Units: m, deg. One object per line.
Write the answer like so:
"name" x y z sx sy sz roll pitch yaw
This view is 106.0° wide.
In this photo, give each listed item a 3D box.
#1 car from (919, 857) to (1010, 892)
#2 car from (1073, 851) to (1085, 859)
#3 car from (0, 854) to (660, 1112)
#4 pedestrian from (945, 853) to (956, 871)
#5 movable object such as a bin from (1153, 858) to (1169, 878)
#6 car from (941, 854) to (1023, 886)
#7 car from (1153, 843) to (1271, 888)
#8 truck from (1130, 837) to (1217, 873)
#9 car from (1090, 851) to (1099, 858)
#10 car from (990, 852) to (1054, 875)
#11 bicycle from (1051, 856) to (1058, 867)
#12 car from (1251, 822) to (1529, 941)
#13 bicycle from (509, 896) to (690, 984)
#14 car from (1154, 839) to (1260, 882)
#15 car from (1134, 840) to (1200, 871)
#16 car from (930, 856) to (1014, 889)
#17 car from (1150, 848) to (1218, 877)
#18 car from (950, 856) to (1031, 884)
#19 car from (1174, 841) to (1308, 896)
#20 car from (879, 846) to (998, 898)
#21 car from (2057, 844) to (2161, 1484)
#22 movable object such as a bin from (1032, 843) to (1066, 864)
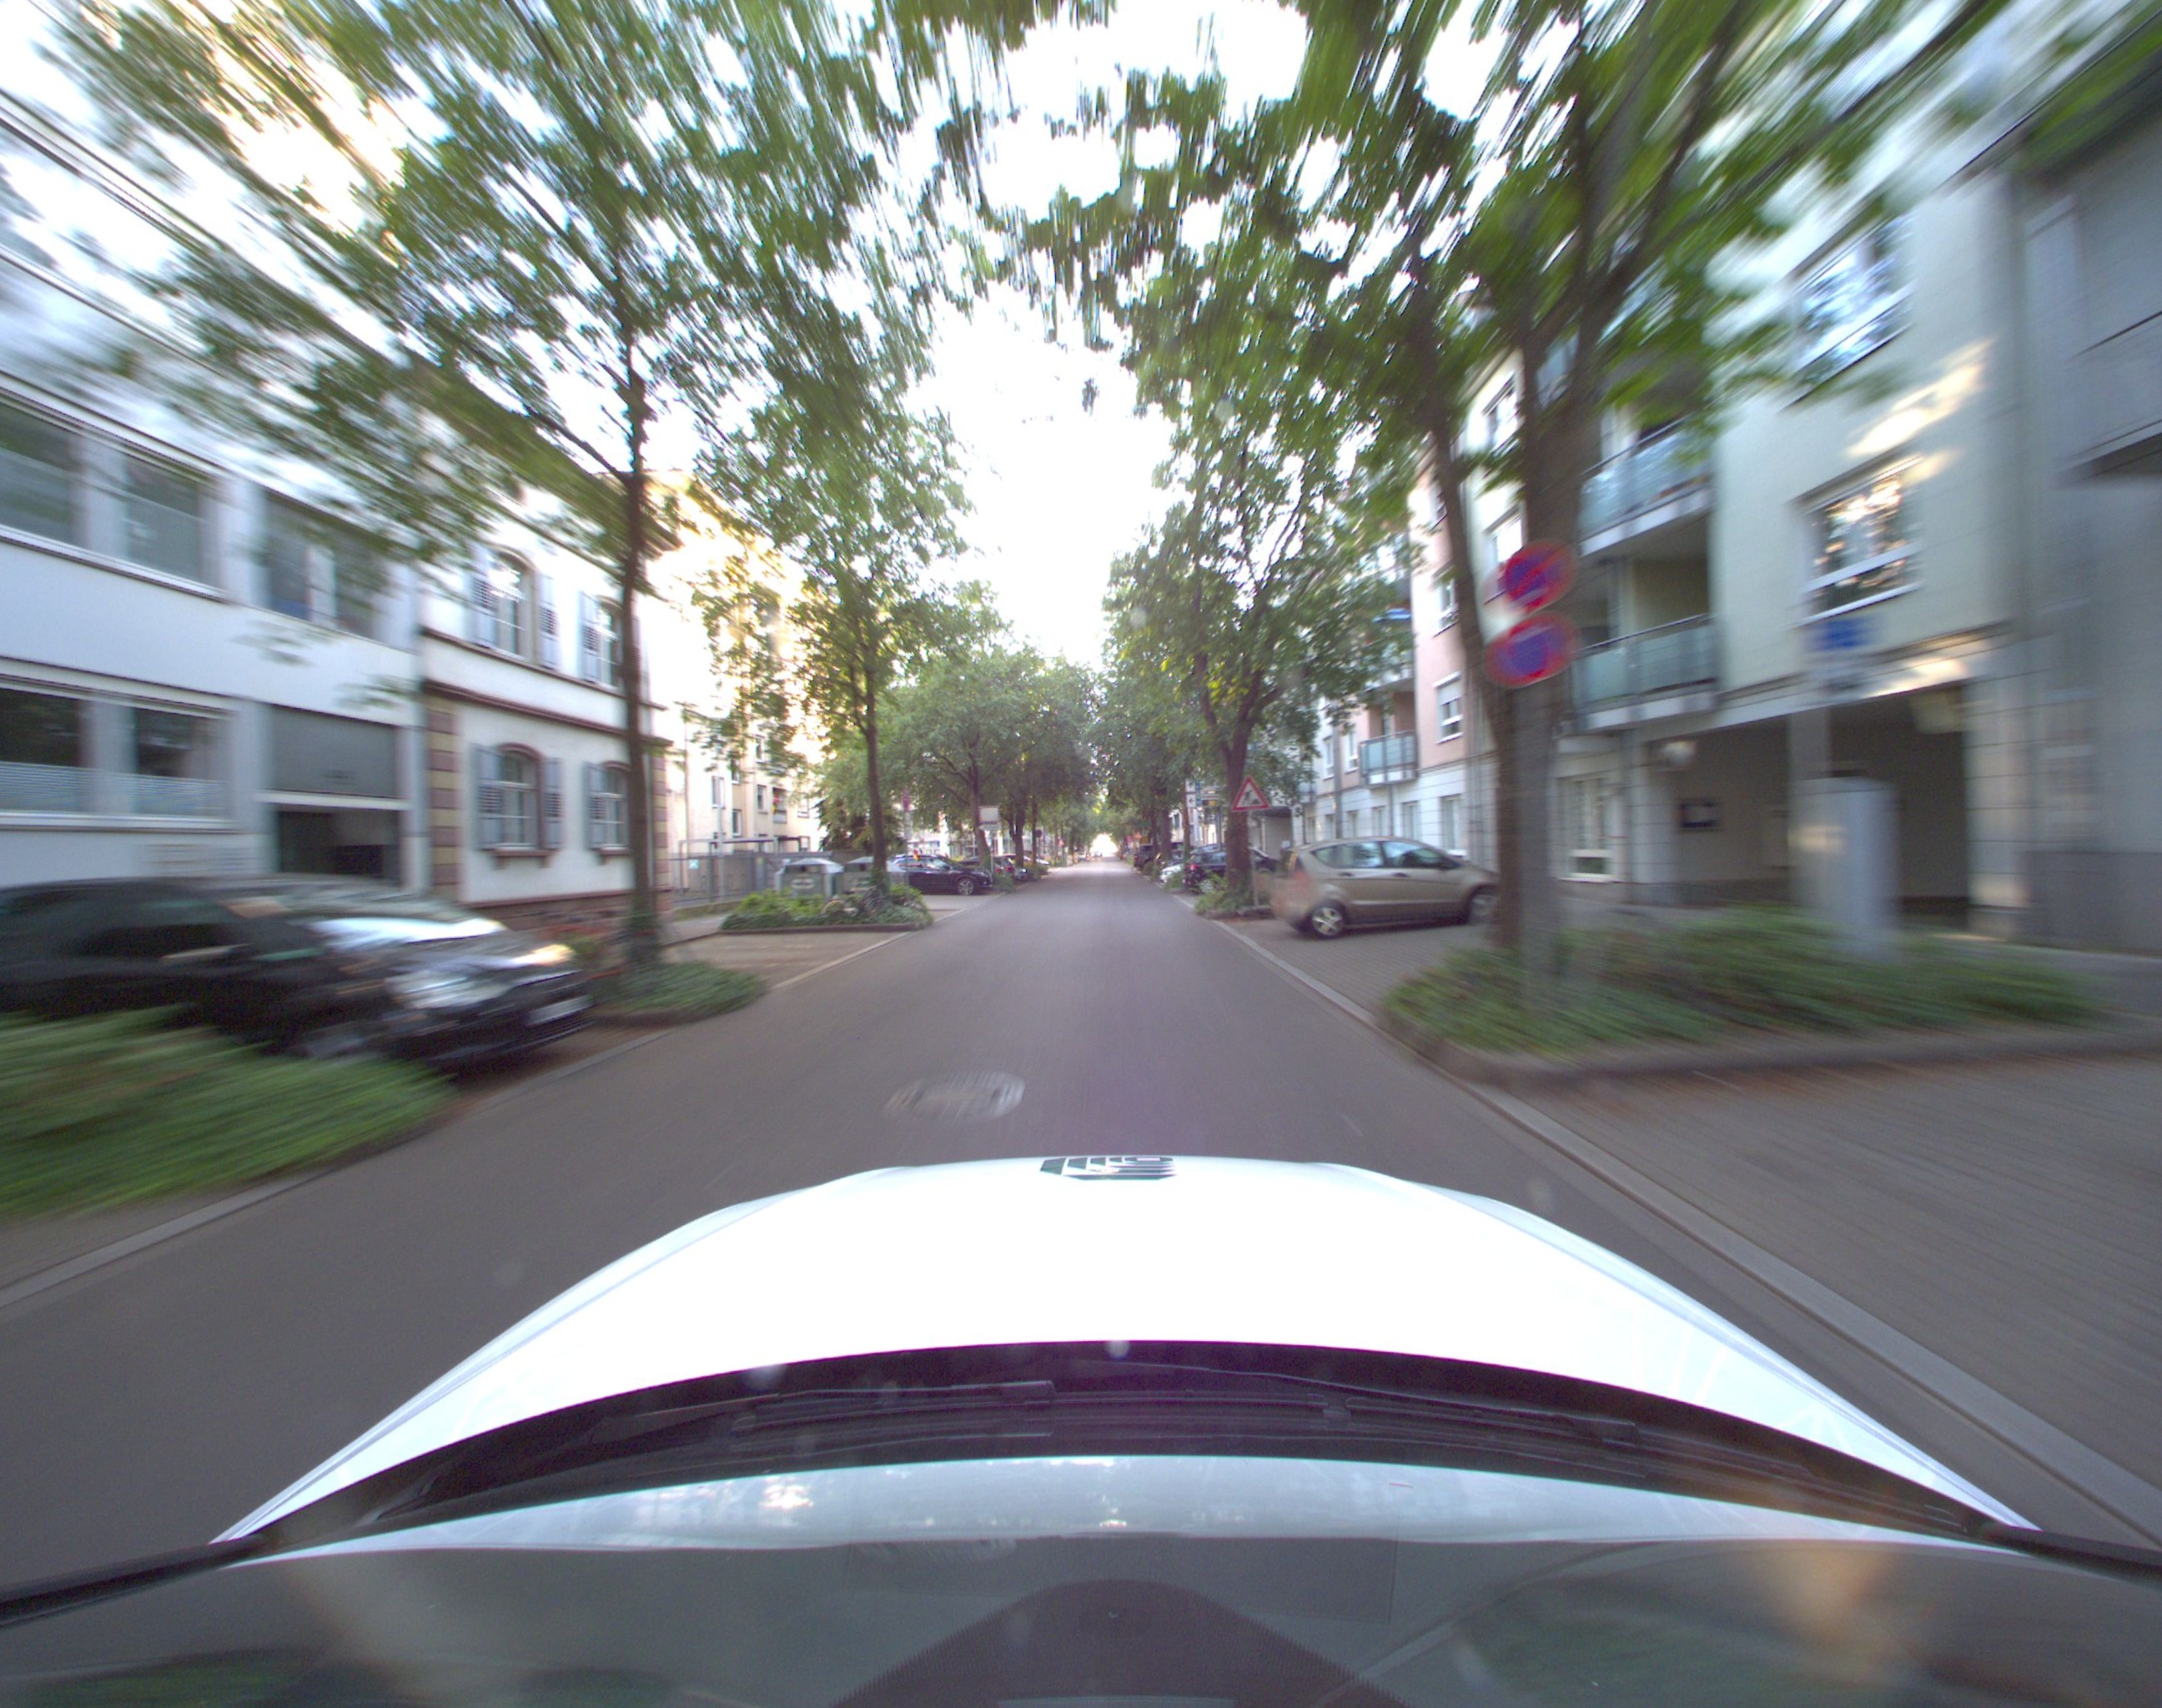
"car" -5.488 0.953 38.693 3.974 1.464 1.922 -2 0 0
"car" -0.372 0.147 145.083 1.989 1.288 3.996 -2 0 -2
"car" -6.367 0.887 6.505 4.834 1.621 2.161 -2 0 2
"pedestrian" -13.350 0.789 83.225 0.885 1.851 0.875 -2 0 -2
"movable object such as a bin" 4.424 0.766 45.069 0.757 1.084 0.786 -4 0 2
"car" -5.278 0.850 43.739 3.966 1.565 1.933 -2 0 6
"car" 5.418 0.471 34.004 4.584 1.468 1.796 -5 0 0
"truck" 6.424 0.081 57.211 5.865 2.311 2.214 -2 0 2
"car" 2.941 0.077 180.383 2.003 1.613 4.119 -2 0 0
"car" -4.480 0.719 62.145 4.599 1.552 2.077 -1 0 4
"bicycle" -2.759 0.763 85.546 0.681 1.152 1.978 -2 1 -3
"car" 5.112 0.431 13.925 3.955 1.585 1.917 -5 0 1
"bicycle" -5.059 0.893 8.608 1.545 0.830 0.614 -2 0 4
"car" 6.017 0.302 39.169 4.631 1.617 2.008 -5 0 -3
"car" 6.300 0.077 59.959 4.585 2.066 2.197 -2 0 0
"car" -5.459 0.925 41.076 3.975 1.490 1.825 -2 0 -1
"car" 5.974 0.472 47.595 3.764 1.544 1.877 -1 0 0
"car" -5.103 0.898 46.365 4.272 1.429 1.880 -2 0 1
"car" 5.418 0.466 27.934 4.075 1.451 1.932 -5 0 -4
"car" -5.753 0.706 33.343 4.493 1.955 1.998 -2 0 -2
"car" 4.477 0.533 0.731 4.437 1.427 2.014 -5 0 6
"movable object such as a bin" -3.908 -0.107 100.108 4.038 2.383 2.780 -2 0 -4
